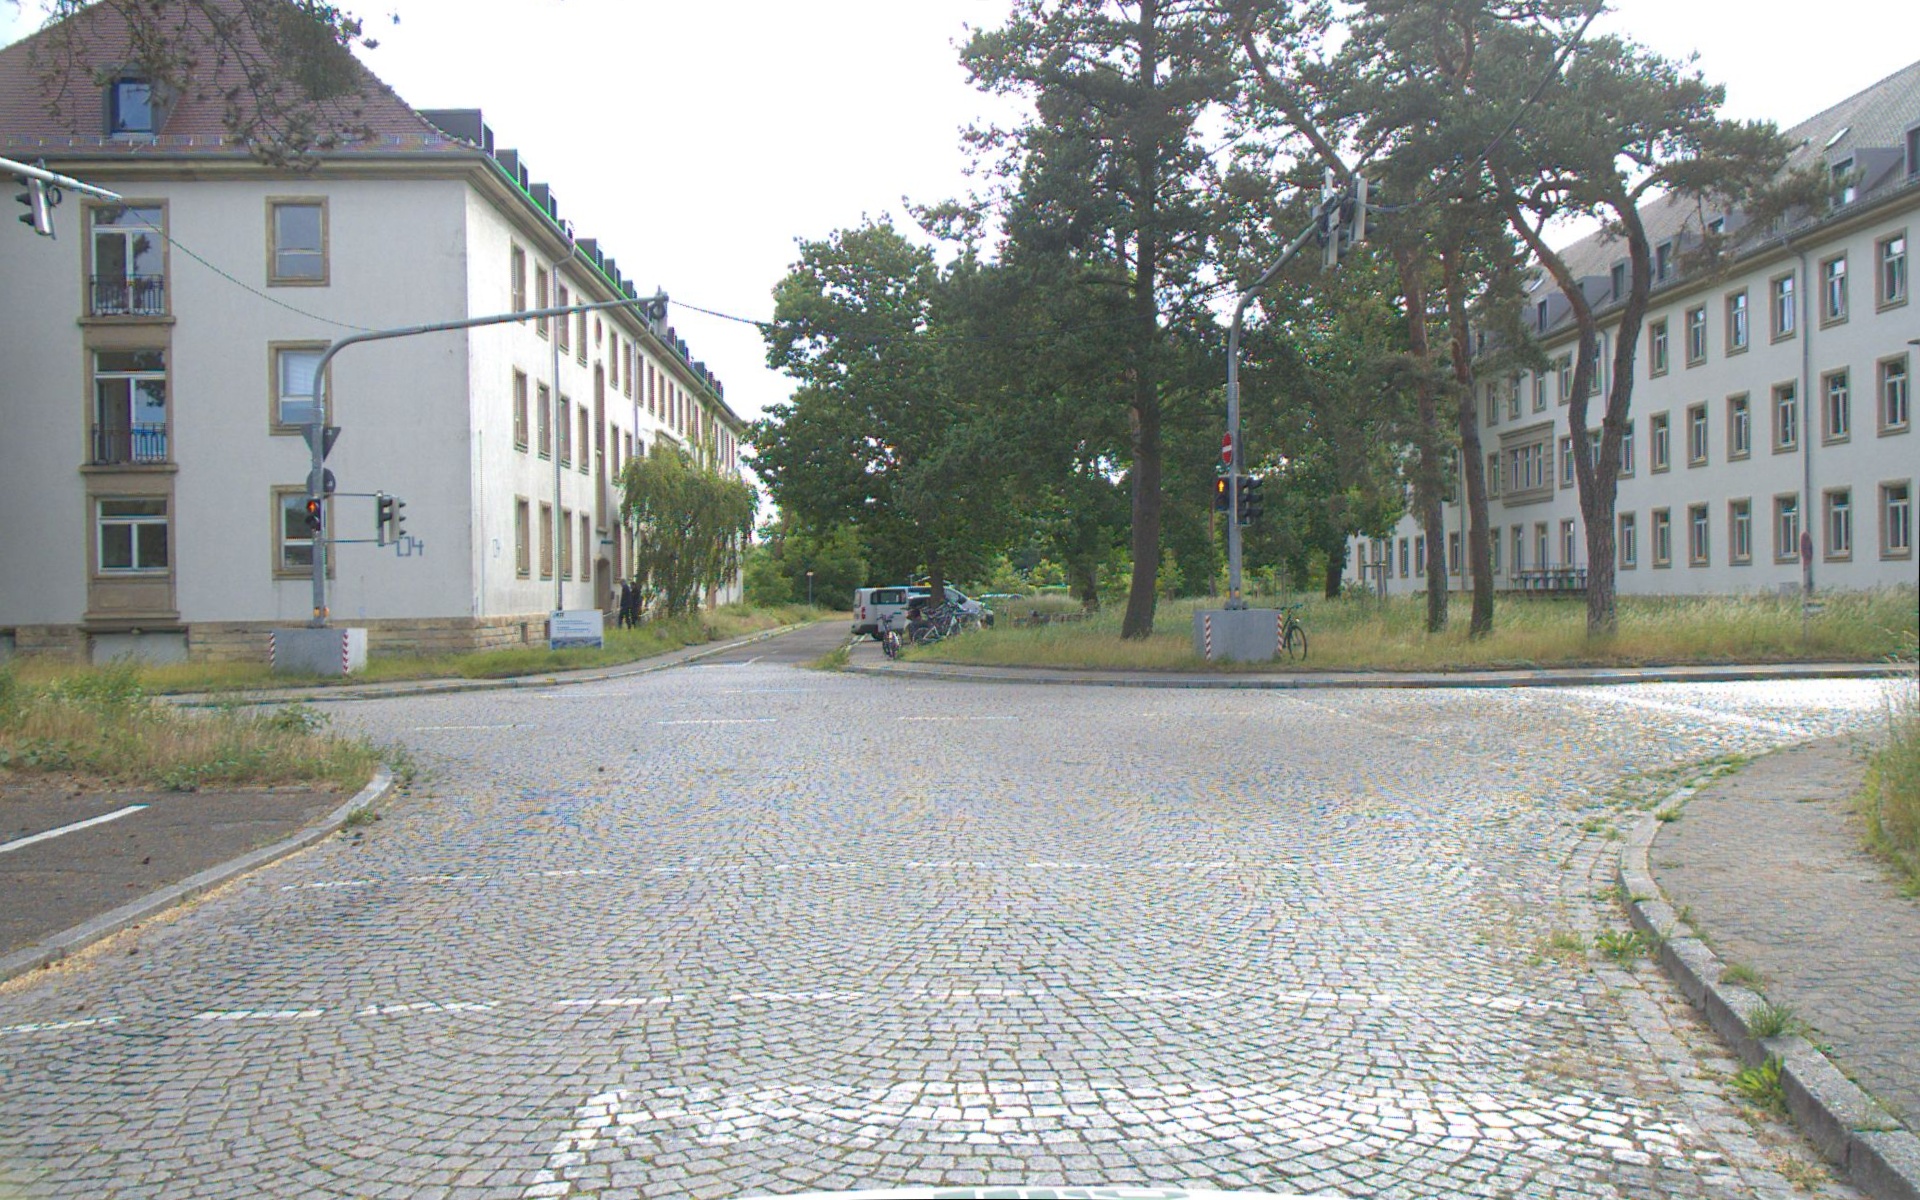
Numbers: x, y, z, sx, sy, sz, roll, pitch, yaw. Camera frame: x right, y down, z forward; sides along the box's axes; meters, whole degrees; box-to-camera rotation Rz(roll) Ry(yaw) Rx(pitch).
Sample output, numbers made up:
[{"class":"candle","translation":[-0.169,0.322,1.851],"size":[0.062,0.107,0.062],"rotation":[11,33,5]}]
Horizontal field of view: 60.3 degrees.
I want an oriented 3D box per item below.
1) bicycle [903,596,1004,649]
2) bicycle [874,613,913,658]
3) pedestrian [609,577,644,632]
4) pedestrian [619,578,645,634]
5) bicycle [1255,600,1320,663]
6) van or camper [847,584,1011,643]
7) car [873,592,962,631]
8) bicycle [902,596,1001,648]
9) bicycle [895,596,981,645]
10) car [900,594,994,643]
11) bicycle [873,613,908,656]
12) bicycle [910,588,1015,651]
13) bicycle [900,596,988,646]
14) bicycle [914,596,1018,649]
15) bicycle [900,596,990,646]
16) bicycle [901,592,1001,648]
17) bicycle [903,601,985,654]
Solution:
[{"class":"bicycle","translation":[-0.189,0.610,45.530],"size":[2.746,1.396,0.950],"rotation":[-1,0,-3]},{"class":"bicycle","translation":[-1.572,0.825,39.146],"size":[0.882,1.014,1.977],"rotation":[-1,0,-3]},{"class":"pedestrian","translation":[-11.550,0.161,57.303],"size":[1.173,1.903,1.545],"rotation":[0,-1,-12]},{"class":"pedestrian","translation":[-11.511,0.214,58.054],"size":[0.850,1.966,0.834],"rotation":[1,-1,-14]},{"class":"bicycle","translation":[6.071,0.565,30.732],"size":[0.632,1.080,1.832],"rotation":[-5,0,-5]},{"class":"van or camper","translation":[-1.157,0.469,60.665],"size":[5.646,1.991,2.229],"rotation":[-1,0,-15]},{"class":"car","translation":[-1.944,0.506,74.471],"size":[3.909,1.628,1.702],"rotation":[-1,0,-5]},{"class":"bicycle","translation":[-0.251,0.616,46.422],"size":[2.746,1.396,0.950],"rotation":[-1,0,-3]},{"class":"bicycle","translation":[-0.664,0.605,49.047],"size":[2.517,1.396,0.950],"rotation":[-1,0,-4]},{"class":"car","translation":[-0.483,0.626,57.182],"size":[3.160,1.649,1.936],"rotation":[0,-1,-3]},{"class":"bicycle","translation":[-1.721,0.841,41.233],"size":[0.712,1.014,1.979],"rotation":[-1,0,2]},{"class":"bicycle","translation":[0.056,0.503,44.075],"size":[2.746,1.611,0.950],"rotation":[-1,0,-3]},{"class":"bicycle","translation":[-0.473,0.600,48.217],"size":[2.517,1.396,0.950],"rotation":[-1,0,-4]},{"class":"bicycle","translation":[0.150,0.607,45.009],"size":[2.746,1.396,0.950],"rotation":[-1,0,-3]},{"class":"bicycle","translation":[-0.429,0.594,47.378],"size":[2.517,1.396,0.950],"rotation":[-1,0,-4]},{"class":"bicycle","translation":[-0.252,0.525,43.193],"size":[2.567,1.391,0.874],"rotation":[-1,0,-3]},{"class":"bicycle","translation":[-0.413,0.699,42.573],"size":[2.071,1.329,0.874],"rotation":[-1,0,-3]}]
